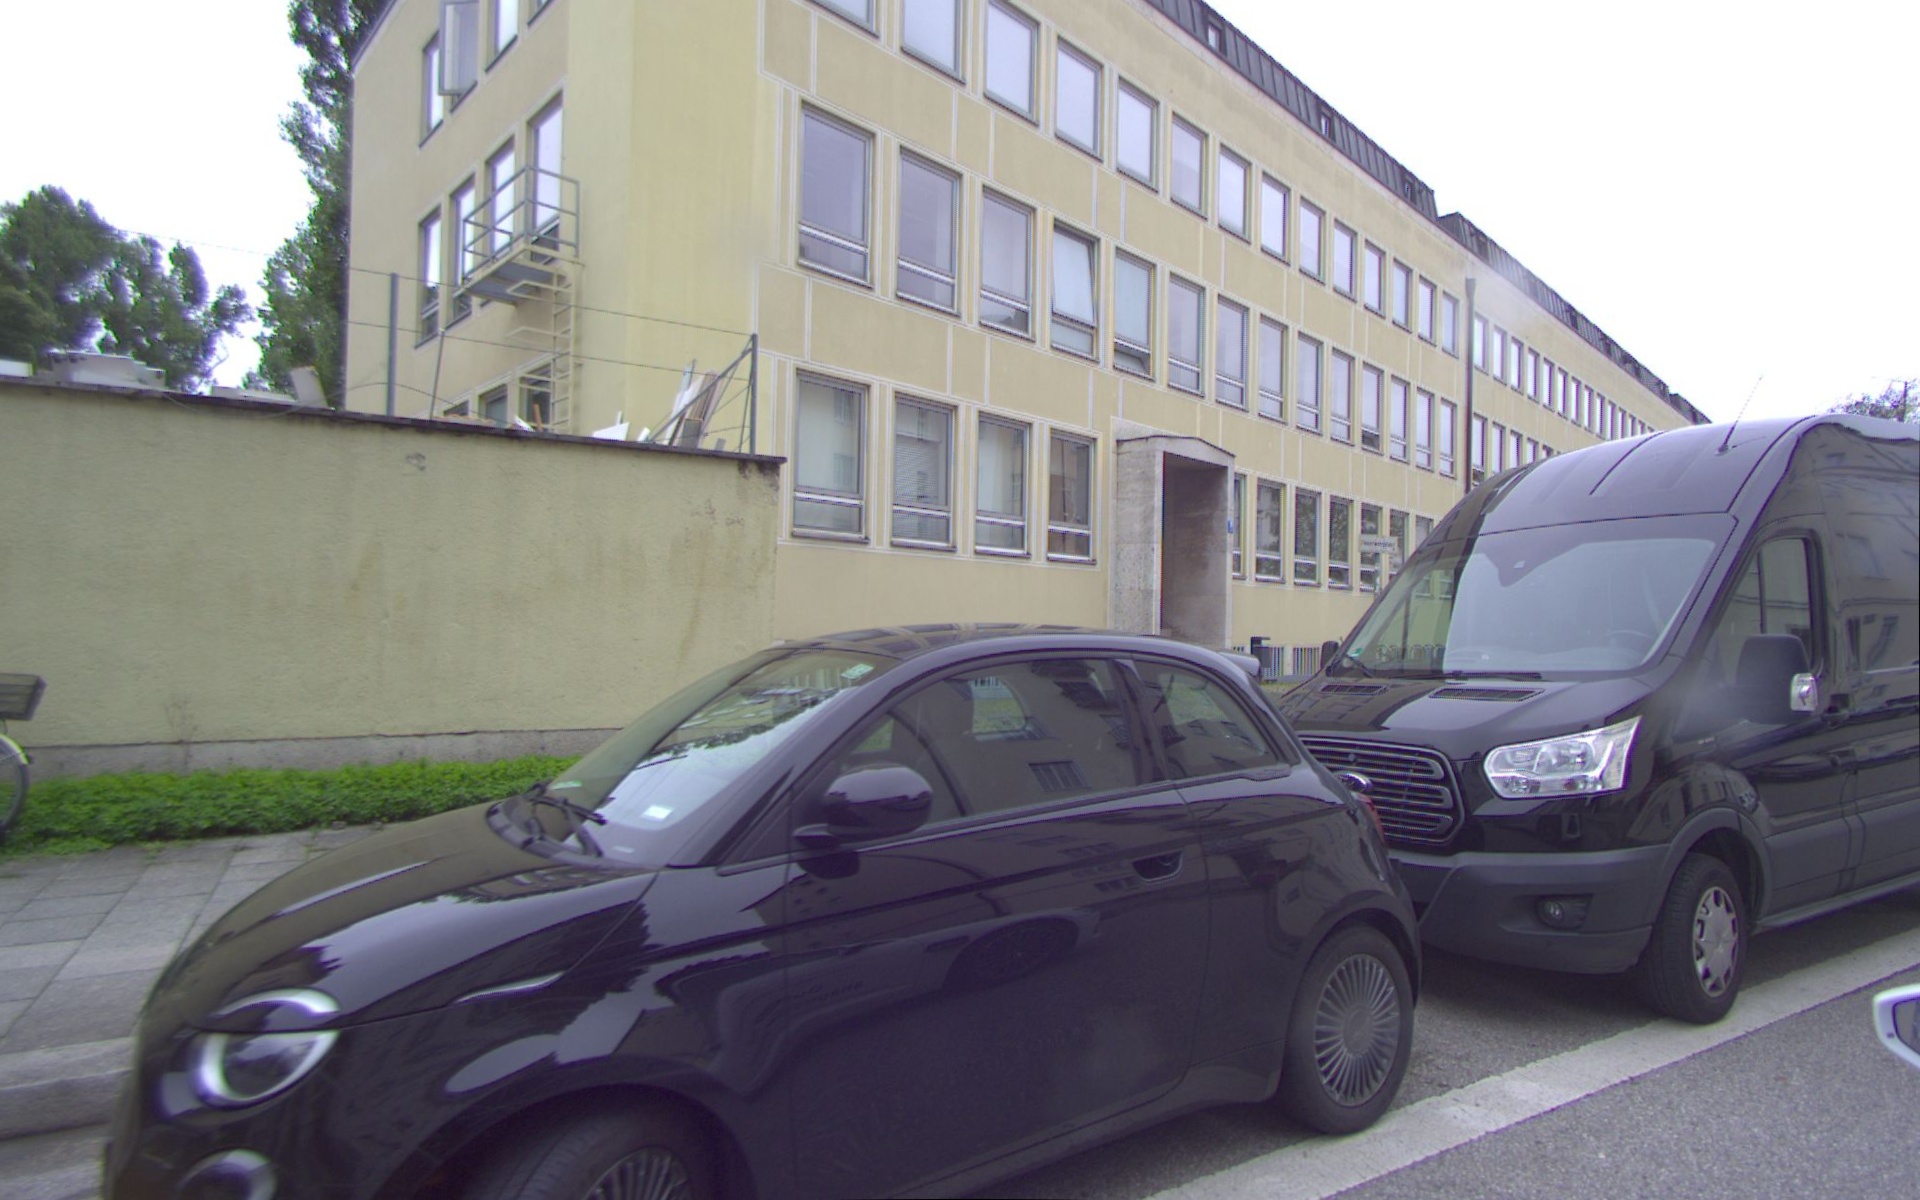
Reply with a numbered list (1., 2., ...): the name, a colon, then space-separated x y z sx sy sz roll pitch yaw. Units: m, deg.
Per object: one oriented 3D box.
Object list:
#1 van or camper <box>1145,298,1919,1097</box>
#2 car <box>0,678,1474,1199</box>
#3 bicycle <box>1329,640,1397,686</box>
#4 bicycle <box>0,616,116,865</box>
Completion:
1. van or camper: 3.942 0.405 5.726 5.493 2.685 2.284 1 -2 -29
2. car: -0.417 1.052 2.839 3.867 1.516 1.643 1 -3 -34
3. bicycle: 9.300 1.433 23.202 1.387 0.957 0.413 2 1 32
4. bicycle: -5.588 0.698 5.098 1.847 1.250 0.798 2 -1 -31
